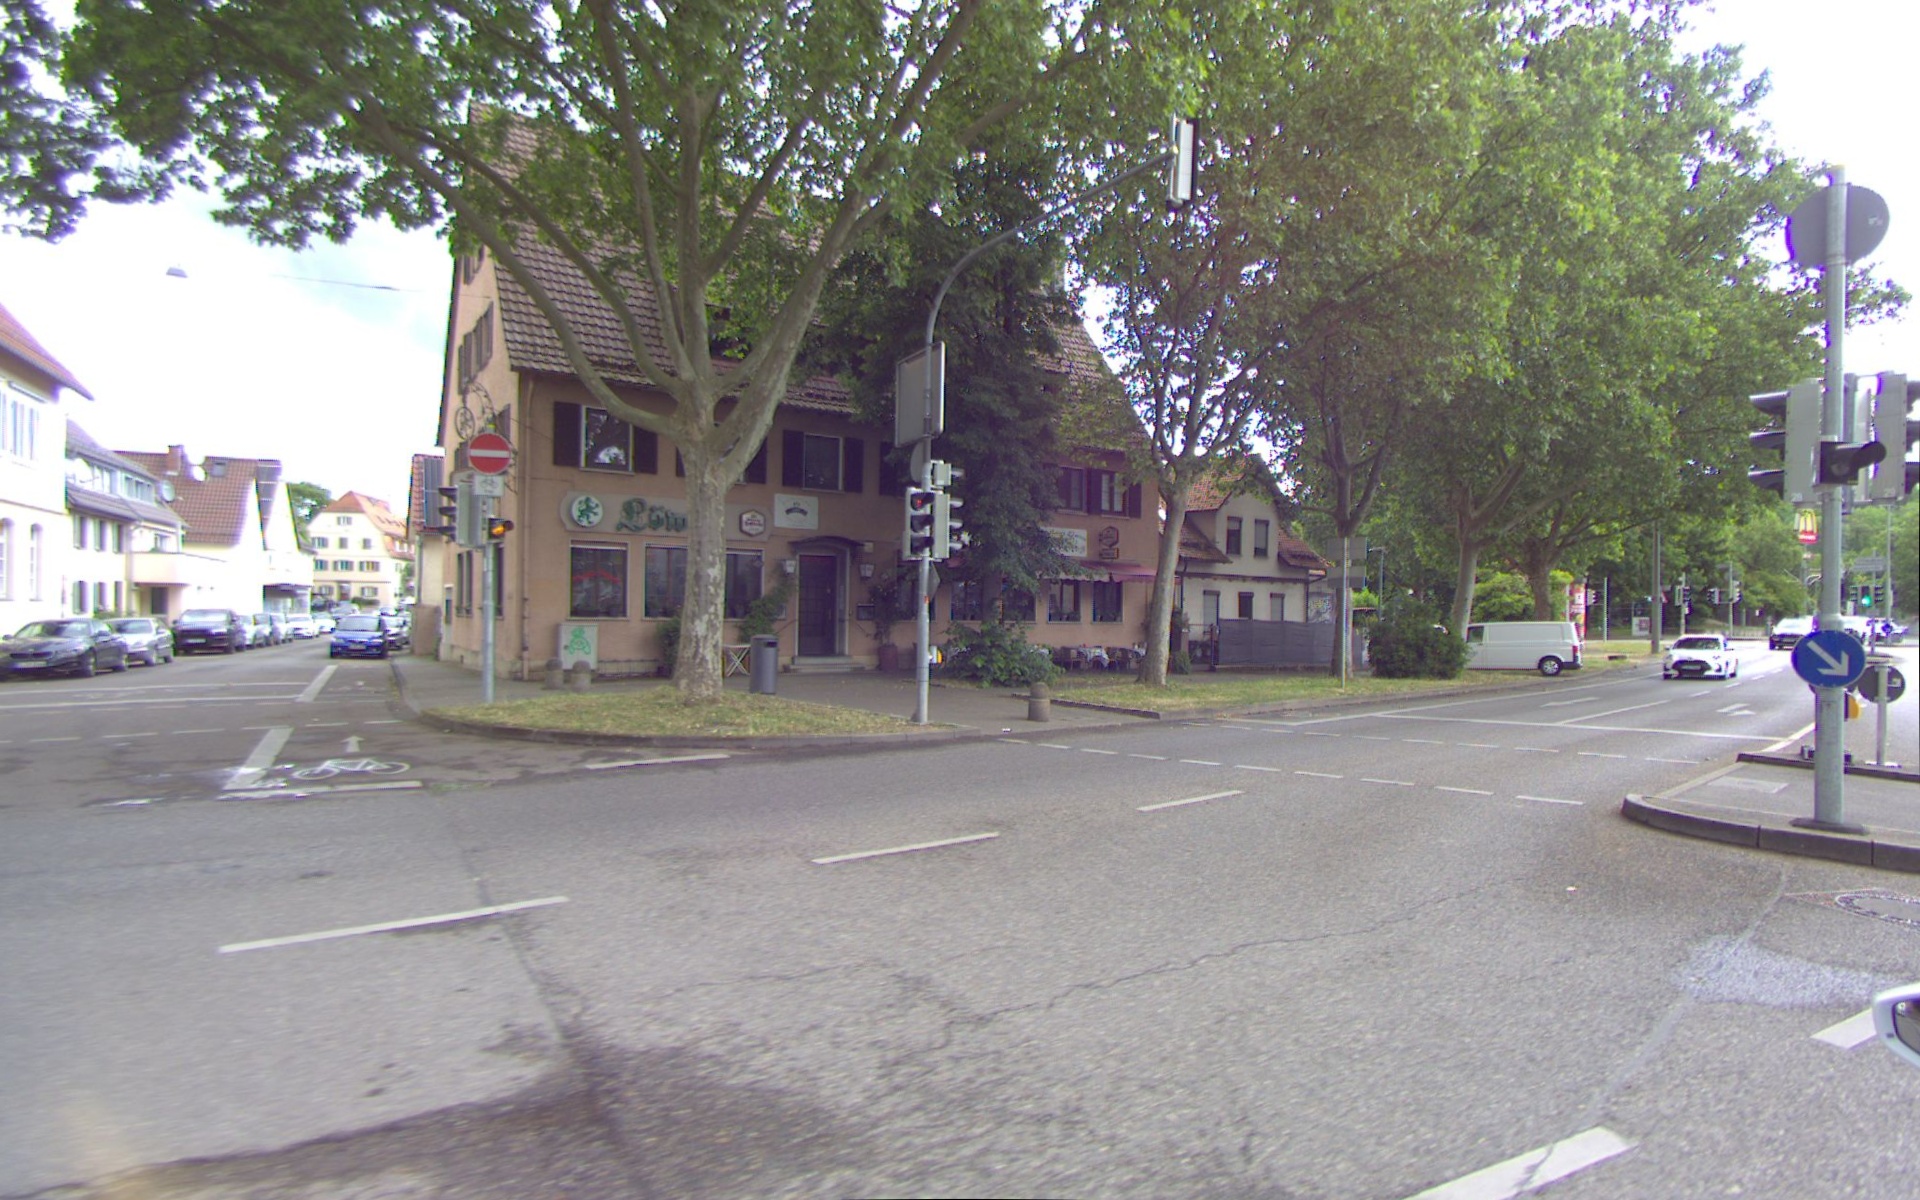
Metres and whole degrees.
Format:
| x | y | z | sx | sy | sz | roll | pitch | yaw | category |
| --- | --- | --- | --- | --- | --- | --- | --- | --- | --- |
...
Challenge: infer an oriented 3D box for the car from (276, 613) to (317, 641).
| x | y | z | sx | sy | sz | roll | pitch | yaw | category |
| --- | --- | --- | --- | --- | --- | --- | --- | --- | --- |
| -39.830 | 1.606 | 60.338 | 1.807 | 1.534 | 3.639 | 2 | -1 | -30 | car |

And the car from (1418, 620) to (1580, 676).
| x | y | z | sx | sy | sz | roll | pitch | yaw | category |
| --- | --- | --- | --- | --- | --- | --- | --- | --- | --- |
| 20.053 | 1.781 | 37.448 | 5.154 | 1.956 | 2.079 | -2 | -2 | 33 | car |

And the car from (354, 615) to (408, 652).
| x | y | z | sx | sy | sz | roll | pitch | yaw | category |
| --- | --- | --- | --- | --- | --- | --- | --- | --- | --- |
| -25.848 | 1.475 | 44.951 | 1.742 | 1.574 | 3.691 | 1 | -1 | -25 | car |

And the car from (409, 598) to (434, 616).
| x | y | z | sx | sy | sz | roll | pitch | yaw | category |
| --- | --- | --- | --- | --- | --- | --- | --- | --- | --- |
| -47.633 | 0.629 | 88.828 | 1.807 | 1.598 | 3.639 | 2 | -1 | -30 | car |

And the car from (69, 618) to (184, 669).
| x | y | z | sx | sy | sz | roll | pitch | yaw | category |
| --- | --- | --- | --- | --- | --- | --- | --- | --- | --- |
| -23.655 | 1.201 | 28.661 | 1.690 | 1.332 | 3.837 | 2 | -1 | -27 | car |

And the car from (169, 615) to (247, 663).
| x | y | z | sx | sy | sz | roll | pitch | yaw | category |
| --- | --- | --- | --- | --- | --- | --- | --- | --- | --- |
| -28.307 | 1.422 | 37.915 | 1.724 | 1.706 | 3.816 | 1 | -1 | -28 | car |

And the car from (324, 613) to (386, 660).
| x | y | z | sx | sy | sz | roll | pitch | yaw | category |
| --- | --- | --- | --- | --- | --- | --- | --- | --- | --- |
| -21.721 | 1.288 | 36.145 | 1.807 | 1.534 | 3.638 | 2 | -1 | -30 | car |

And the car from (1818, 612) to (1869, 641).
| x | y | z | sx | sy | sz | roll | pitch | yaw | category |
| --- | --- | --- | --- | --- | --- | --- | --- | --- | --- |
| 58.494 | 1.717 | 66.477 | 4.714 | 1.787 | 1.894 | 0 | 0 | -41 | car |

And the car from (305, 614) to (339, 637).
| x | y | z | sx | sy | sz | roll | pitch | yaw | category |
| --- | --- | --- | --- | --- | --- | --- | --- | --- | --- |
| -45.053 | 1.796 | 70.977 | 1.807 | 1.534 | 3.639 | 2 | -1 | -30 | car |

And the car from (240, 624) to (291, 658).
| x | y | z | sx | sy | sz | roll | pitch | yaw | category |
| --- | --- | --- | --- | --- | --- | --- | --- | --- | --- |
| -34.264 | 2.013 | 49.632 | 1.807 | 1.534 | 3.638 | 1 | -1 | -30 | car |

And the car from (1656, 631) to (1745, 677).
| x | y | z | sx | sy | sz | roll | pitch | yaw | category |
| --- | --- | --- | --- | --- | --- | --- | --- | --- | --- |
| 25.473 | 1.828 | 34.528 | 3.993 | 1.485 | 1.746 | 2 | -2 | -43 | car |

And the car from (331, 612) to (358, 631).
| x | y | z | sx | sy | sz | roll | pitch | yaw | category |
| --- | --- | --- | --- | --- | --- | --- | --- | --- | --- |
| -51.761 | 1.800 | 84.507 | 1.807 | 1.534 | 3.638 | 1 | -1 | -30 | car |

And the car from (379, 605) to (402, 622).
| x | y | z | sx | sy | sz | roll | pitch | yaw | category |
| --- | --- | --- | --- | --- | --- | --- | --- | --- | --- |
| -54.129 | 1.292 | 95.408 | 1.807 | 1.534 | 3.639 | 2 | -1 | -30 | car |

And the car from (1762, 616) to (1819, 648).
| x | y | z | sx | sy | sz | roll | pitch | yaw | category |
| --- | --- | --- | --- | --- | --- | --- | --- | --- | --- |
| 46.108 | 1.765 | 55.752 | 4.382 | 1.608 | 1.780 | 0 | -2 | -42 | car |

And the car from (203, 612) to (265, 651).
| x | y | z | sx | sy | sz | roll | pitch | yaw | category |
| --- | --- | --- | --- | --- | --- | --- | --- | --- | --- |
| -31.277 | 1.339 | 43.366 | 1.807 | 1.534 | 3.638 | 1 | -1 | -30 | car |

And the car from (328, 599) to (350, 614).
| x | y | z | sx | sy | sz | roll | pitch | yaw | category |
| --- | --- | --- | --- | --- | --- | --- | --- | --- | --- |
| -65.036 | 0.692 | 105.208 | 1.807 | 1.534 | 3.639 | 2 | -1 | -30 | car |
